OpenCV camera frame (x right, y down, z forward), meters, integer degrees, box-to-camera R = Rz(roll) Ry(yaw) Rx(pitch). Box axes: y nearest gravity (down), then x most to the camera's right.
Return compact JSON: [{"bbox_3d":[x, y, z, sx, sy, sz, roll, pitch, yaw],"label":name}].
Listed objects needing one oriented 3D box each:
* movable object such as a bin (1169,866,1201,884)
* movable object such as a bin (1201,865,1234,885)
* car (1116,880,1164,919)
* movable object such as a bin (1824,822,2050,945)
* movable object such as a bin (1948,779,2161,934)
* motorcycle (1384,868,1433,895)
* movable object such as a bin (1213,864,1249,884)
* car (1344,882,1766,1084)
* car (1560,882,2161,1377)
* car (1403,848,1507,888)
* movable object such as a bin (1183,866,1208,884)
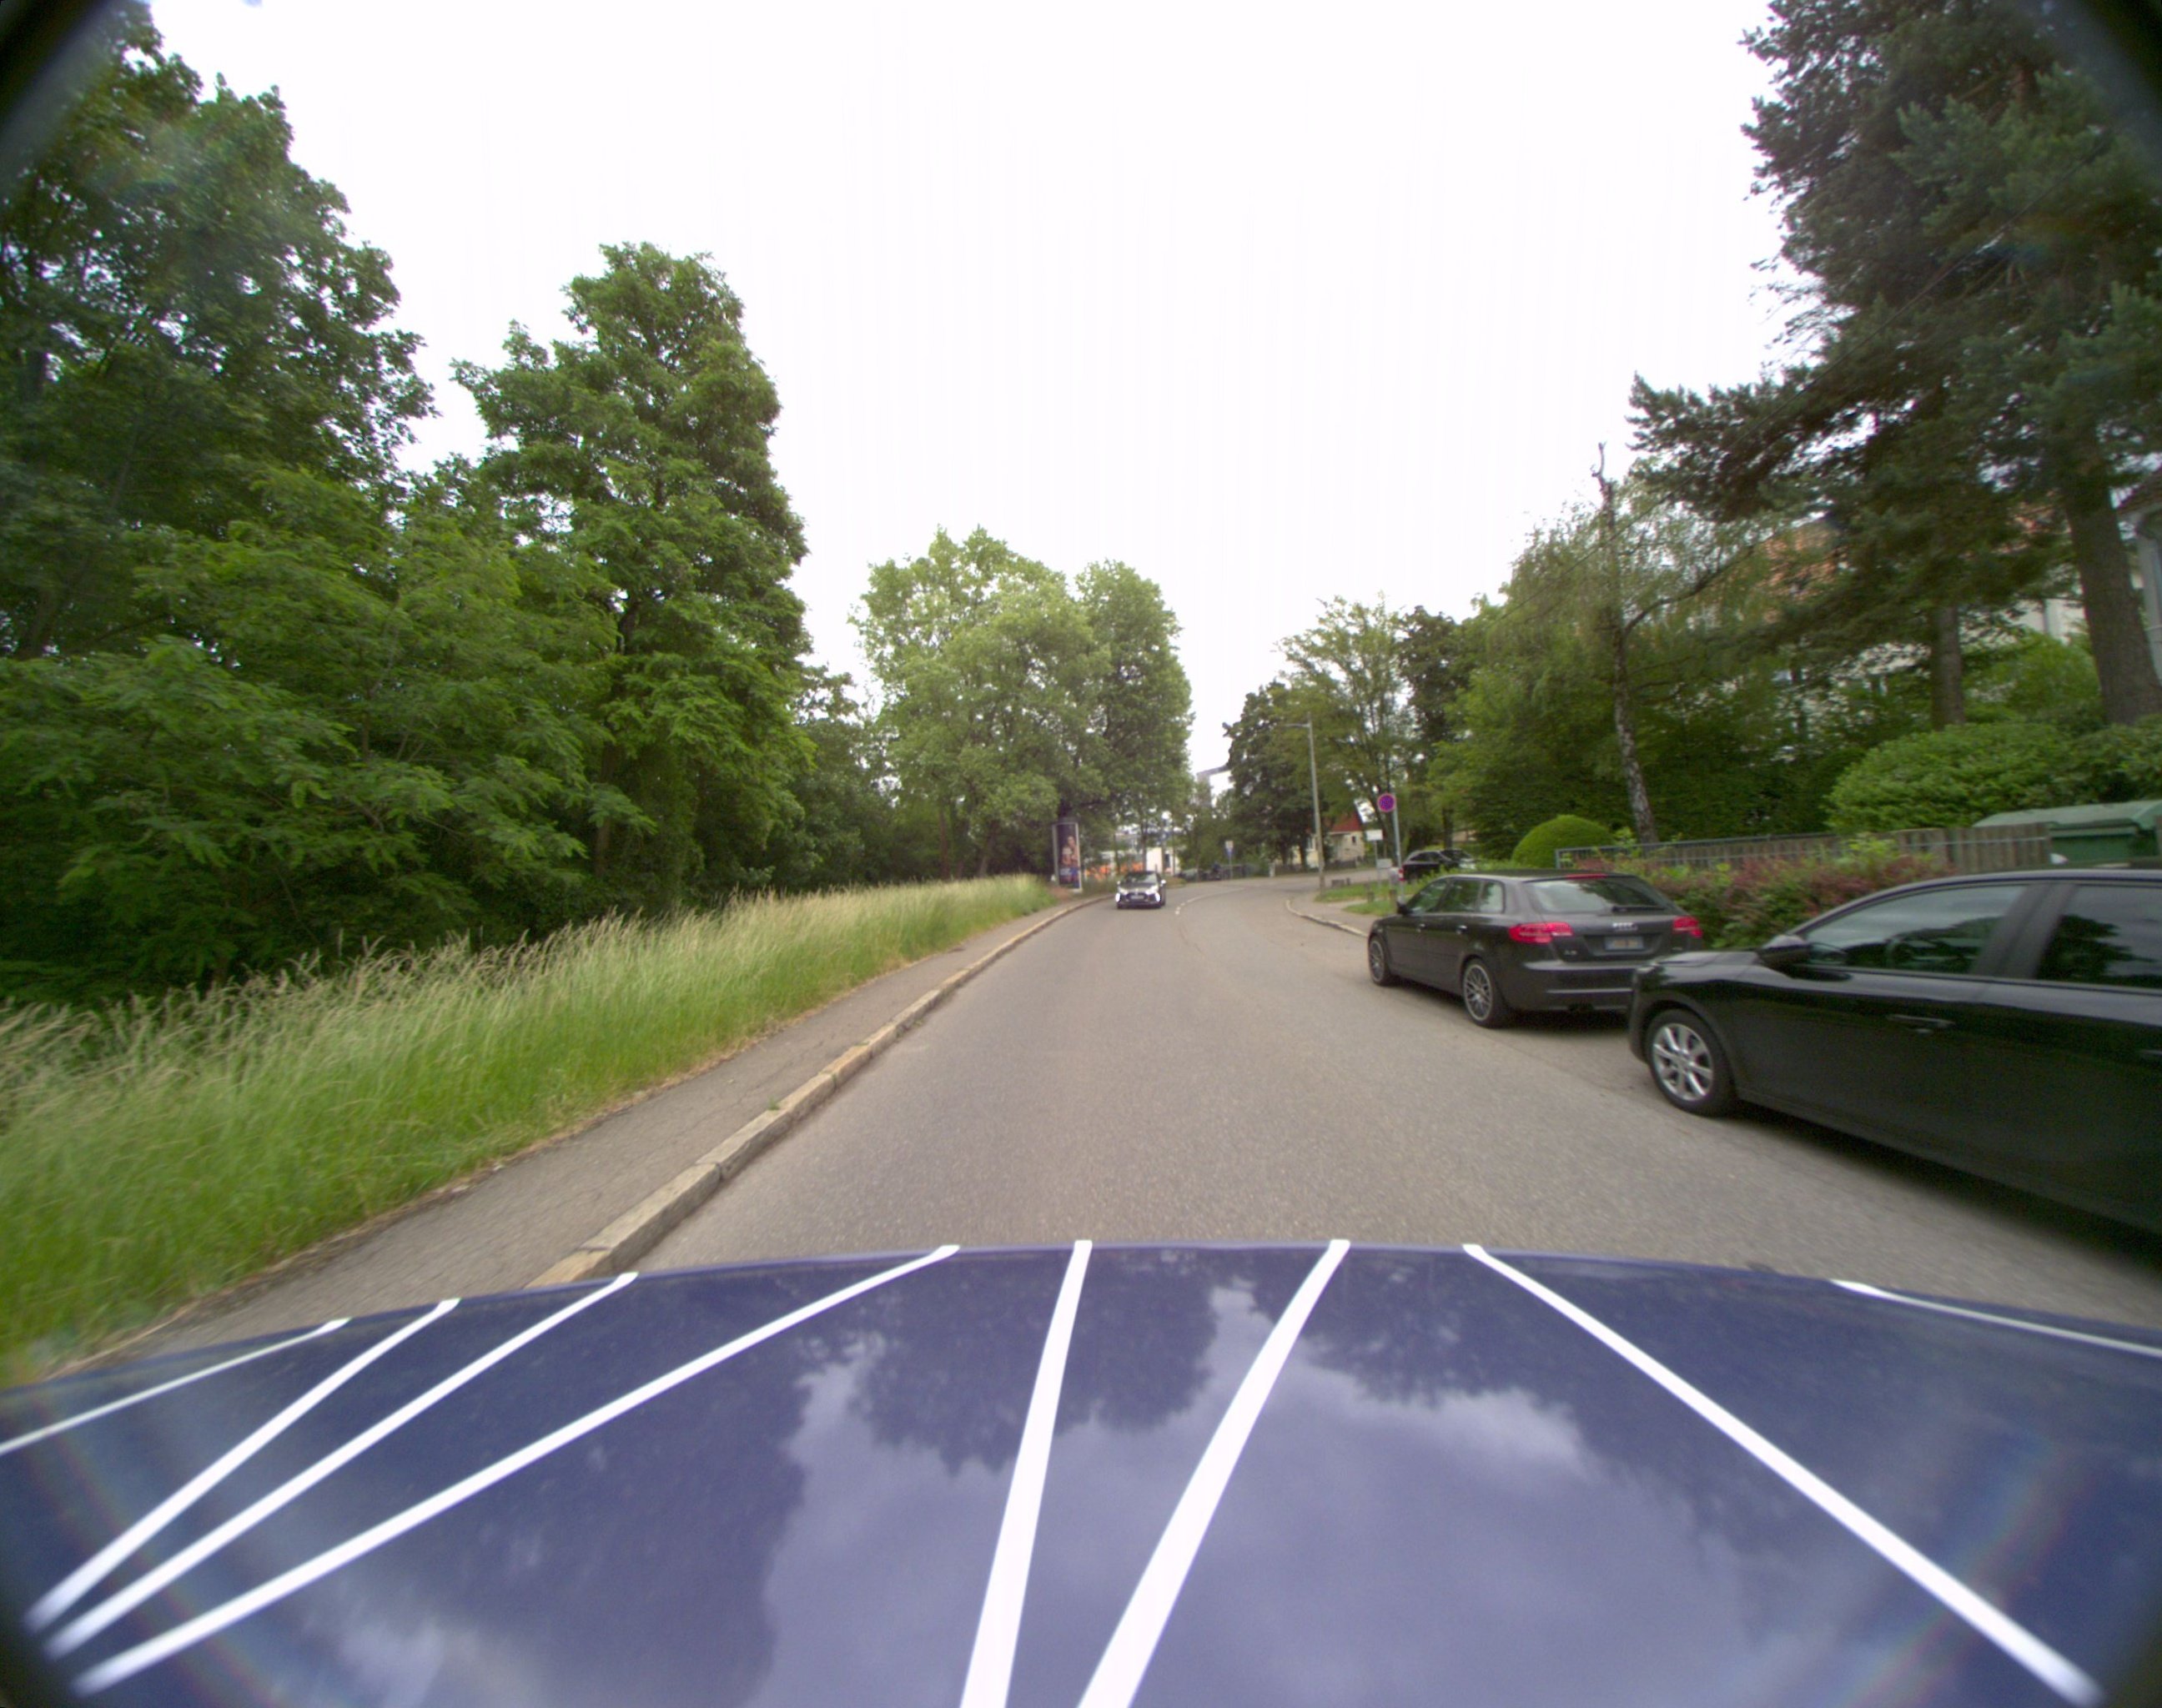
[{"bbox_3d":[10.020,2.055,73.492,1.449,1.538,2.891,-3,-2,-31],"label":"movable object such as a bin"},{"bbox_3d":[13.754,2.123,76.516,2.211,1.721,2.232,-4,-1,-28],"label":"movable object such as a bin"},{"bbox_3d":[2.411,1.784,30.355,1.645,1.389,3.784,-1,-1,8],"label":"car"},{"bbox_3d":[10.592,0.372,9.500,1.116,1.354,1.394,-4,-3,-1],"label":"movable object such as a bin"},{"bbox_3d":[10.573,0.036,7.989,1.096,1.457,1.454,-4,-3,-1],"label":"movable object such as a bin"},{"bbox_3d":[16.256,1.360,37.695,2.067,1.144,0.864,-4,-1,-14],"label":"motorcycle"},{"bbox_3d":[14.664,1.985,74.310,2.211,1.703,2.496,-4,-1,-28],"label":"movable object such as a bin"},{"bbox_3d":[4.432,1.079,8.120,1.739,1.410,4.505,-3,-1,1],"label":"car"},{"bbox_3d":[4.214,0.911,3.171,1.653,1.433,4.333,-3,-1,0],"label":"car"},{"bbox_3d":[16.826,0.679,34.471,1.748,1.584,4.329,-4,-1,-14],"label":"car"},{"bbox_3d":[10.709,1.976,71.192,1.678,1.538,1.423,-3,-2,-31],"label":"movable object such as a bin"}]
